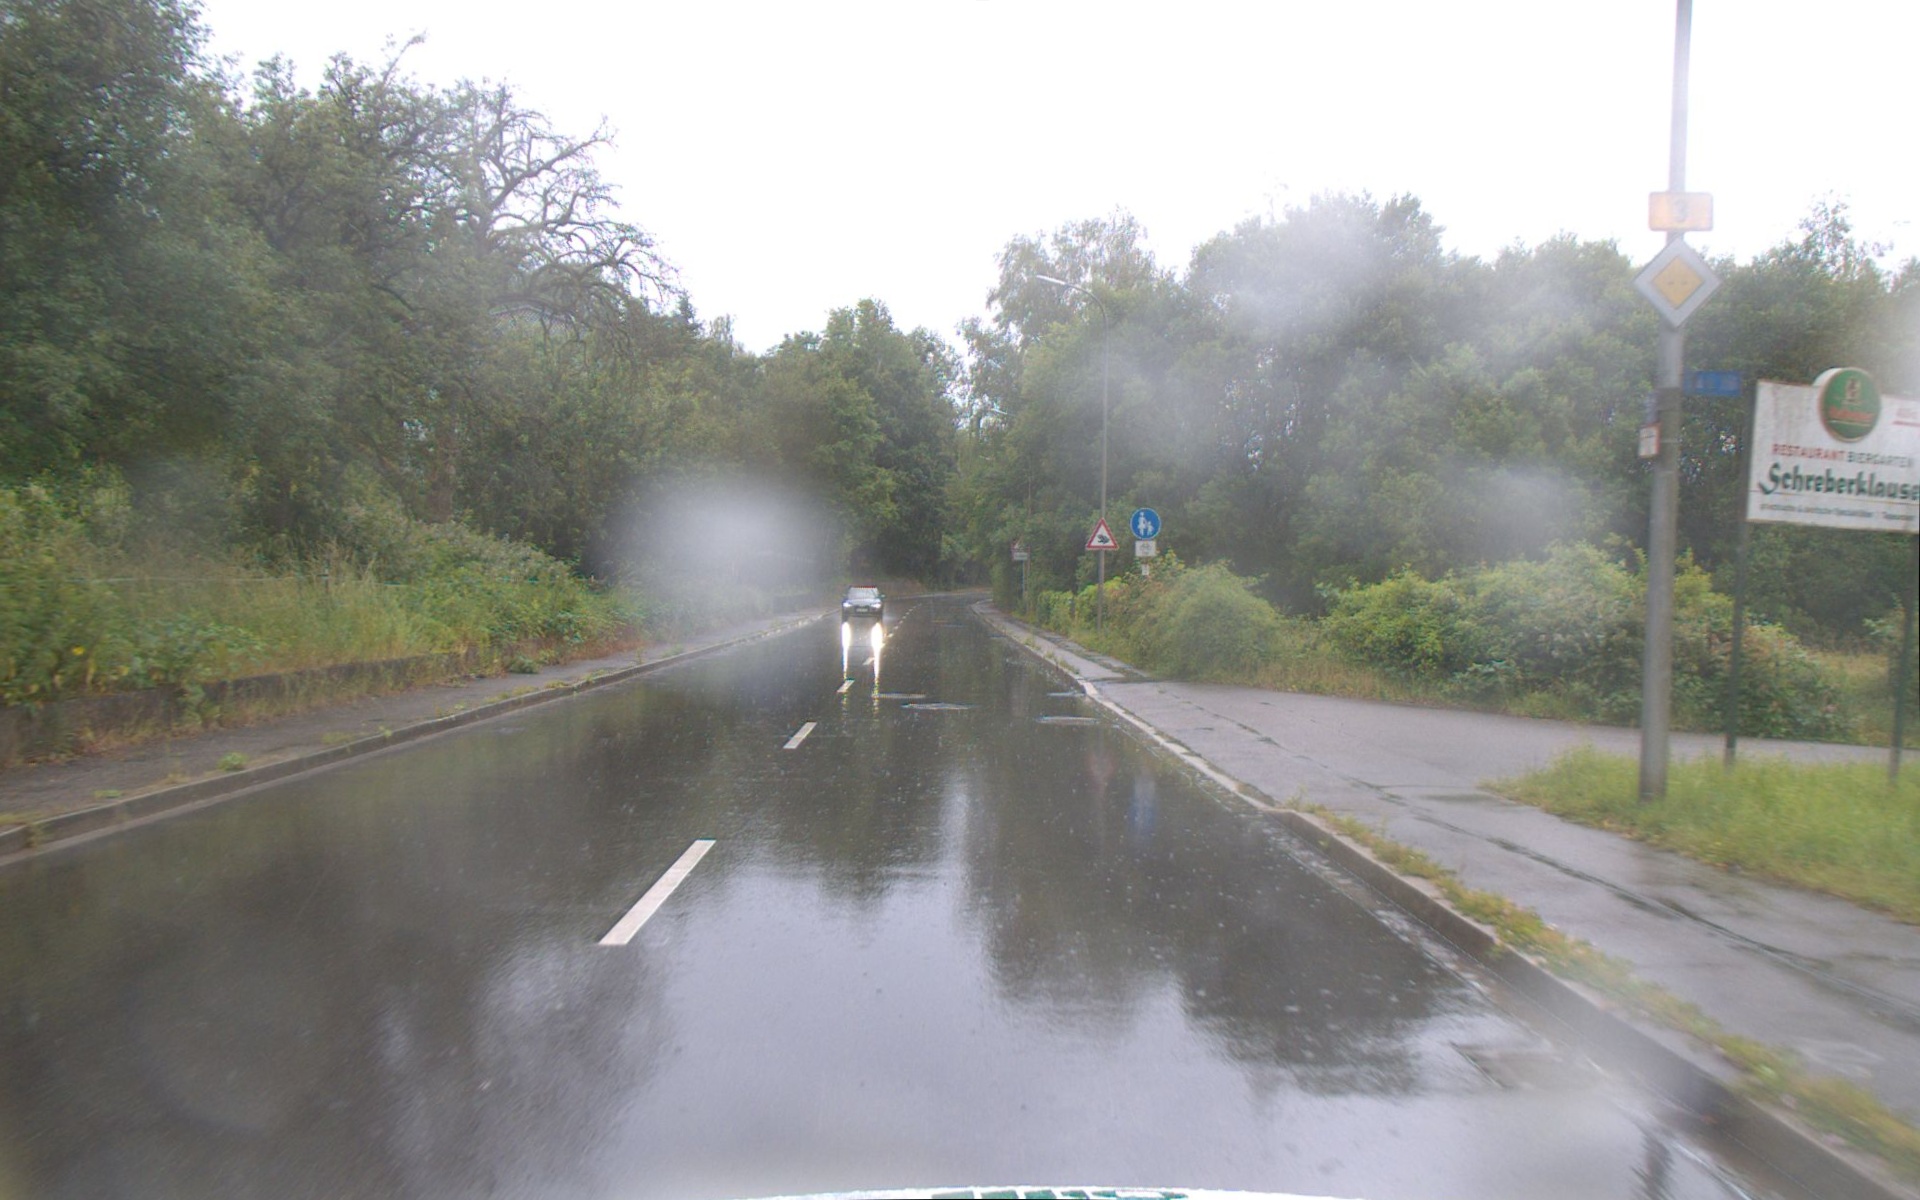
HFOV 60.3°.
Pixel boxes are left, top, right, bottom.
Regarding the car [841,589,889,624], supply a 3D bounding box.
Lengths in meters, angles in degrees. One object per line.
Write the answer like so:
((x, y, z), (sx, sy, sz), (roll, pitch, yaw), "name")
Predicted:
((-4.274, 0.267, 75.121), (1.953, 1.479, 4.427), (1, 1, -1), "car")
